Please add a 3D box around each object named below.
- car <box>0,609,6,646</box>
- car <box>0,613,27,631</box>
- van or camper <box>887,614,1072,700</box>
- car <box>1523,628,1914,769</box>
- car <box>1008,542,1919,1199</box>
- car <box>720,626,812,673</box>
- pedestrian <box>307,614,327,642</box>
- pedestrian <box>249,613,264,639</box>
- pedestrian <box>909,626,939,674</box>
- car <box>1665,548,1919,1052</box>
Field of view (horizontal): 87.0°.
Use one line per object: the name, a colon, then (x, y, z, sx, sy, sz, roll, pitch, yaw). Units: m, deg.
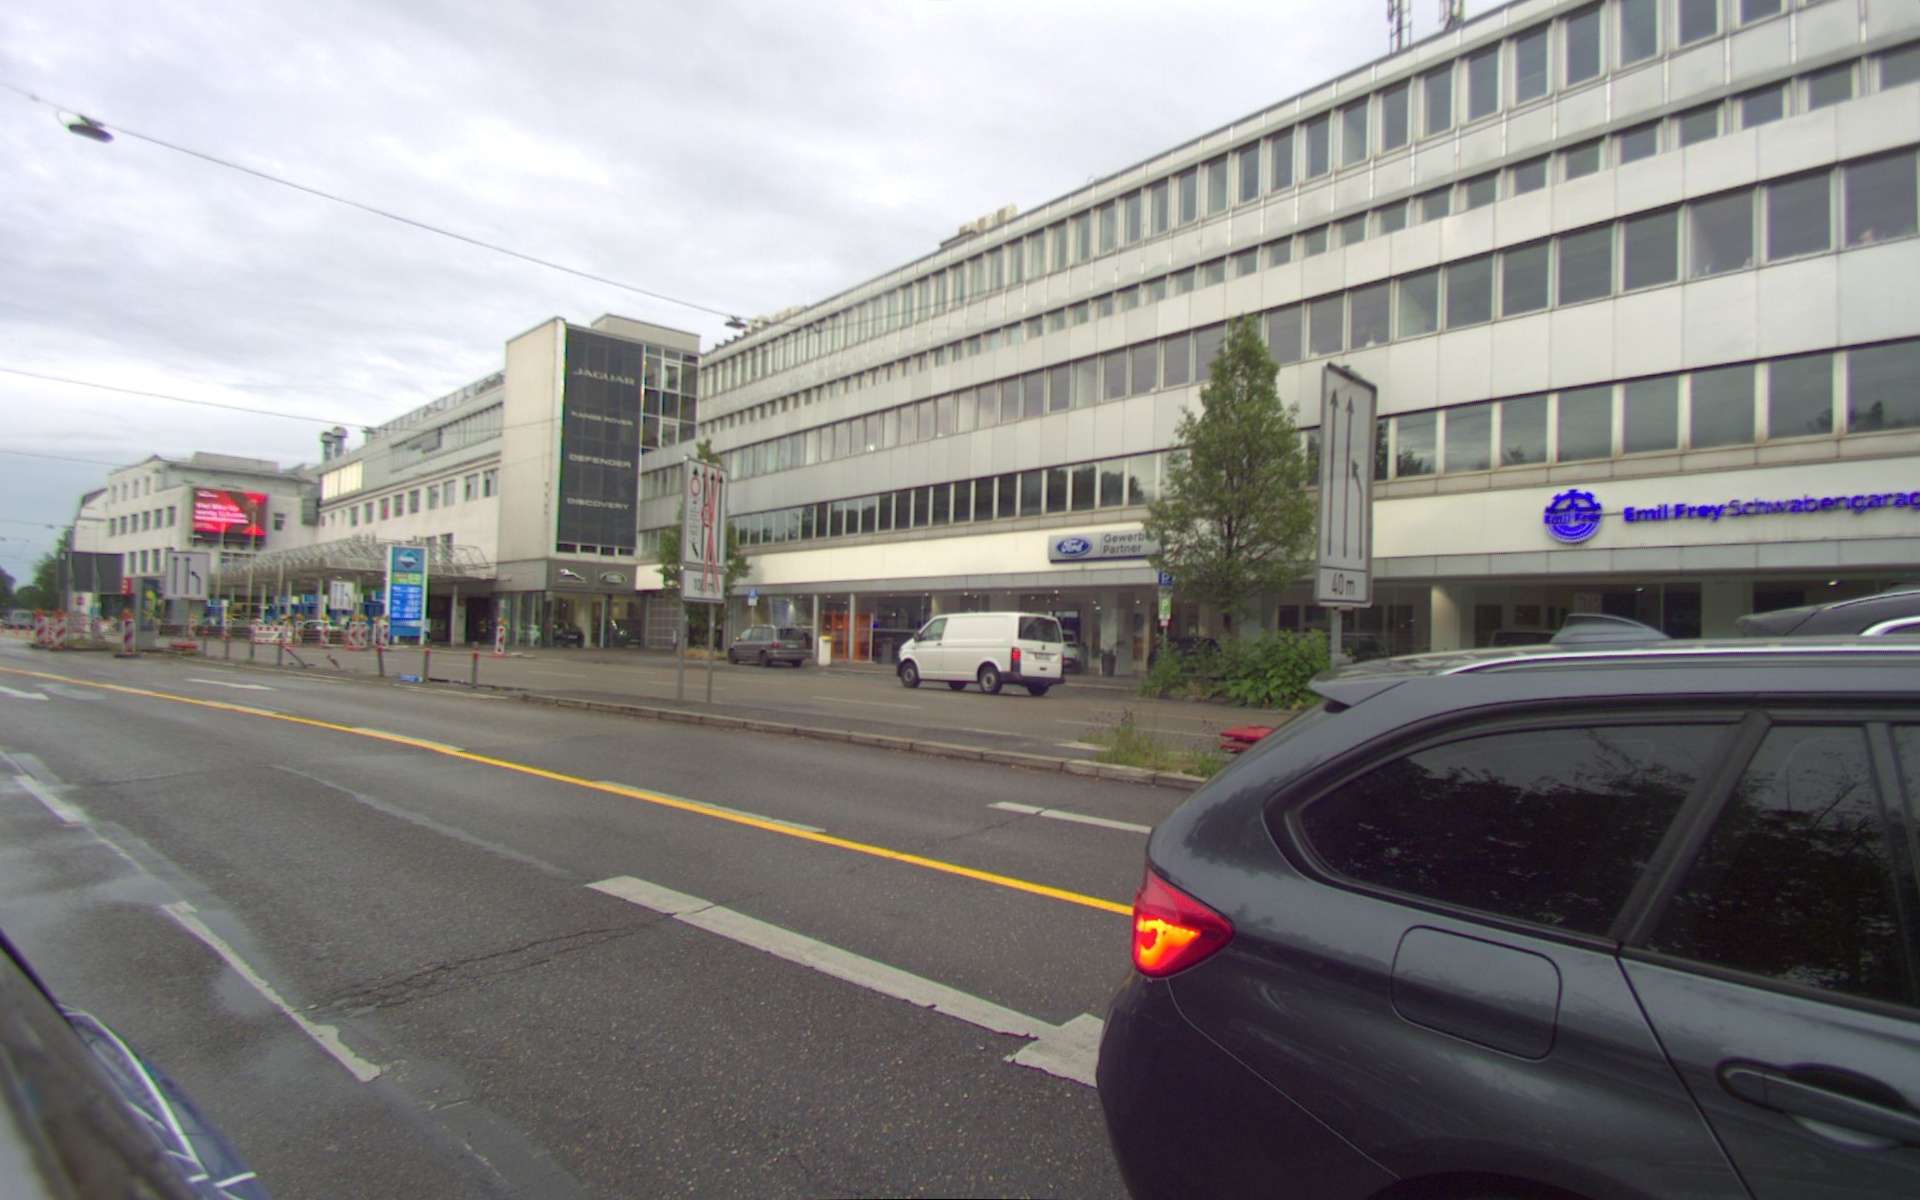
car: (-44.165, 1.234, 45.362, 3.948, 1.629, 1.747, -1, 0, 43)
car: (-90.040, 2.106, 96.299, 3.378, 1.657, 1.587, -1, 0, 42)
van or camper: (0.391, 1.341, 25.219, 1.912, 1.938, 4.689, 3, -3, -43)
car: (9.485, 1.199, 12.945, 3.760, 1.544, 1.783, -2, -6, 39)
car: (2.334, 0.692, 1.088, 4.476, 1.469, 1.757, -1, -3, 42)
car: (-8.311, 2.071, 43.205, 1.895, 1.829, 4.169, -1, 0, -44)
pedestrian: (-42.339, 1.853, 66.641, 0.882, 1.828, 0.942, -1, 0, -45)
pedestrian: (-50.822, 1.858, 73.087, 0.881, 1.828, 0.943, -1, 0, -35)
pedestrian: (-1.401, 1.922, 39.185, 0.750, 1.788, 0.865, -1, 0, -42)
car: (4.891, 0.639, 2.942, 4.445, 1.668, 1.789, -1, 0, 44)
